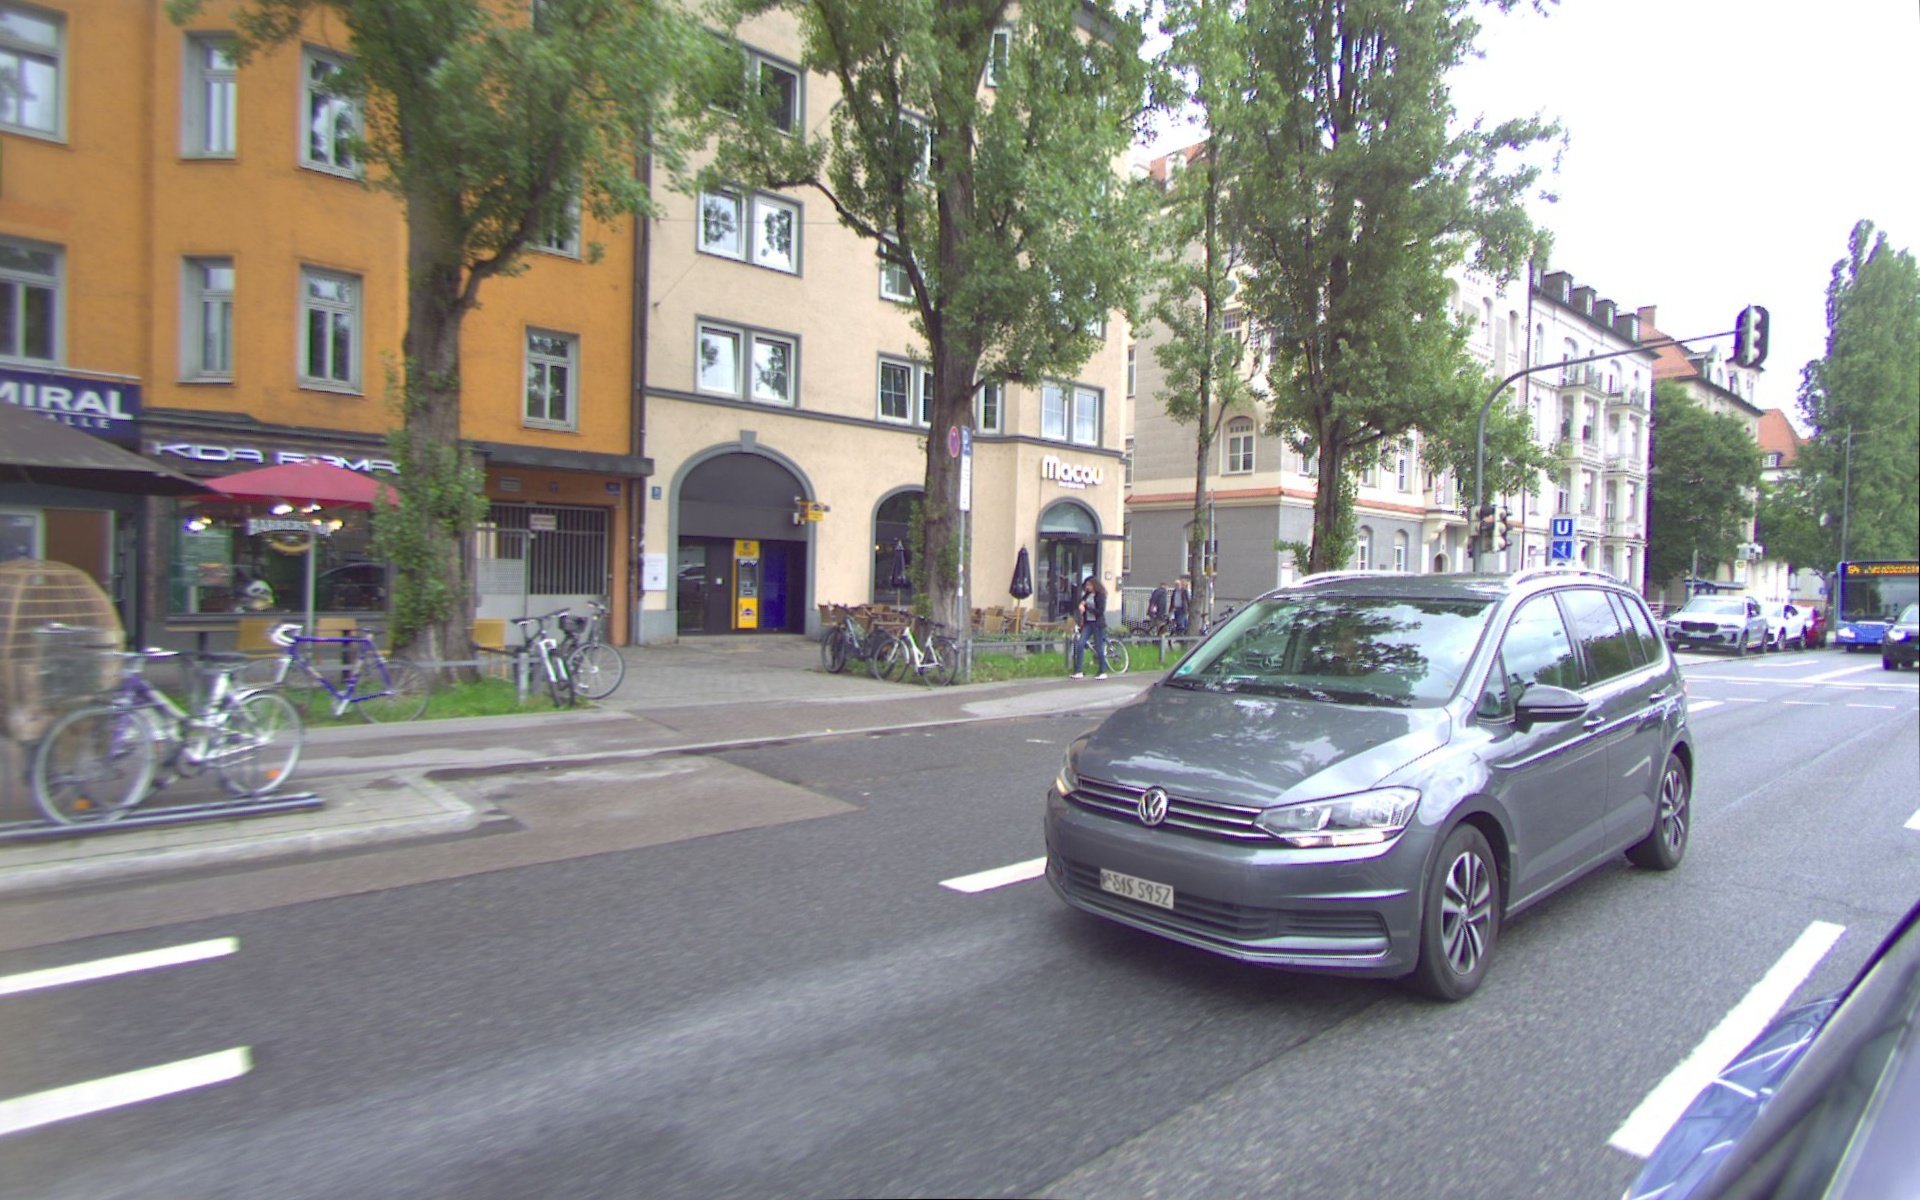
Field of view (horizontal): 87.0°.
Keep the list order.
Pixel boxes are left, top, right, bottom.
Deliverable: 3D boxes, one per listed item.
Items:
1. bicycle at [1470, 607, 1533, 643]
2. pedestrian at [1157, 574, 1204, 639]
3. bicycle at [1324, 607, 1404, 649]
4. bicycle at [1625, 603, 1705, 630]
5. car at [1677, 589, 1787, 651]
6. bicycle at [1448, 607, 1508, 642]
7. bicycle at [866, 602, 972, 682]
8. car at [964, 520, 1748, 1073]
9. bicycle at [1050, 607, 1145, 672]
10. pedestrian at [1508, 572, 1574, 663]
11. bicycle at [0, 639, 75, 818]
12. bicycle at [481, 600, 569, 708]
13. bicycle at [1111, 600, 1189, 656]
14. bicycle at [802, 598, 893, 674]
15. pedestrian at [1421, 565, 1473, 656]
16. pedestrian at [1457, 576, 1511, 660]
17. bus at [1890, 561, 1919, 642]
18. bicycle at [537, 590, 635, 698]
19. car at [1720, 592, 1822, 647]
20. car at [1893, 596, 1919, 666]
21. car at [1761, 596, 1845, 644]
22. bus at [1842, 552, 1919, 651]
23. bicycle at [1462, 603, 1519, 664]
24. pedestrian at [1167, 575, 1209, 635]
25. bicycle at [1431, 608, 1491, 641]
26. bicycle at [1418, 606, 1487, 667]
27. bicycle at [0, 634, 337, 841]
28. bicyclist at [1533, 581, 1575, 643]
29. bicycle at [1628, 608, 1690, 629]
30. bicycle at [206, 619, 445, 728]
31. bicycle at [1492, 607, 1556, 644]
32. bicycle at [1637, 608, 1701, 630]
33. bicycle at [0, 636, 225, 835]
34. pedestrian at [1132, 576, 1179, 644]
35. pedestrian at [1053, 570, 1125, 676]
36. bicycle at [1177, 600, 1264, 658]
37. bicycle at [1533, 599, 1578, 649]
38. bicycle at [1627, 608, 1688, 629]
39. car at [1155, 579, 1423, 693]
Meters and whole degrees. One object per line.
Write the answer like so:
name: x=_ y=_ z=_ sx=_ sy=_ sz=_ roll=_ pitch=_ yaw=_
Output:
bicycle: x=16.158 y=0.745 z=30.192 sx=1.801 sy=1.036 sz=0.447 roll=0 pitch=1 yaw=-13
pedestrian: x=6.012 y=0.165 z=27.596 sx=0.999 sy=1.706 sz=0.747 roll=0 pitch=1 yaw=-40
bicycle: x=9.640 y=0.647 z=24.190 sx=0.385 sy=0.928 sz=1.838 roll=0 pitch=1 yaw=-38
bicycle: x=31.748 y=0.721 z=45.622 sx=2.899 sy=1.162 sz=0.633 roll=1 pitch=0 yaw=33
car: x=22.533 y=0.528 z=29.481 sx=4.424 sy=1.682 sz=1.735 roll=0 pitch=0 yaw=-41
bicycle: x=15.721 y=0.746 z=30.705 sx=1.801 sy=1.036 sz=0.393 roll=0 pitch=1 yaw=-13
bicycle: x=-0.642 y=0.595 z=15.122 sx=0.450 sy=1.067 sz=1.890 roll=0 pitch=2 yaw=-42
car: x=2.352 y=0.581 z=5.225 sx=4.624 sy=1.667 sz=1.775 roll=0 pitch=0 yaw=-40
bicycle: x=2.266 y=0.618 z=16.545 sx=1.624 sy=0.977 sz=0.590 roll=0 pitch=1 yaw=-40
pedestrian: x=11.893 y=0.346 z=20.728 sx=0.741 sy=1.824 sz=0.883 roll=2 pitch=0 yaw=-30
bicycle: x=-5.809 y=0.747 z=5.359 sx=0.369 sy=1.008 sz=1.836 roll=2 pitch=0 yaw=10
bicycle: x=-4.995 y=0.571 z=11.554 sx=0.450 sy=1.067 sz=1.892 roll=0 pitch=2 yaw=-38
bicycle: x=4.059 y=0.577 z=21.784 sx=0.439 sy=1.123 sz=1.802 roll=1 pitch=1 yaw=-38
bicycle: x=-1.865 y=0.553 z=16.539 sx=0.450 sy=1.127 sz=1.890 roll=0 pitch=2 yaw=-42
pedestrian: x=9.904 y=0.215 z=20.584 sx=0.638 sy=1.803 sz=0.702 roll=1 pitch=0 yaw=-7
pedestrian: x=10.694 y=0.358 z=20.672 sx=0.743 sy=1.658 sz=0.700 roll=1 pitch=0 yaw=7
bus: x=39.211 y=0.078 z=39.991 sx=8.383 sy=3.012 sz=2.635 roll=0 pitch=0 yaw=-40
bicycle: x=-4.649 y=0.494 z=12.508 sx=0.571 sy=1.188 sz=1.892 roll=0 pitch=1 yaw=-38
car: x=26.037 y=0.598 z=32.447 sx=3.895 sy=1.596 sz=1.730 roll=0 pitch=2 yaw=-39
car: x=22.526 y=0.647 z=22.778 sx=3.901 sy=1.523 sz=1.778 roll=0 pitch=-2 yaw=-41
car: x=29.702 y=0.663 z=35.626 sx=3.678 sy=1.527 sz=1.729 roll=0 pitch=2 yaw=-42
bus: x=32.485 y=0.074 z=34.252 sx=9.298 sy=3.012 sz=2.635 roll=0 pitch=0 yaw=-40
bicycle: x=10.731 y=0.647 z=20.522 sx=0.353 sy=1.116 sz=1.743 roll=2 pitch=1 yaw=5
pedestrian: x=6.760 y=0.127 z=29.985 sx=0.999 sy=1.735 sz=0.747 roll=0 pitch=1 yaw=-40
bicycle: x=15.448 y=0.748 z=31.187 sx=1.801 sy=0.990 sz=0.393 roll=0 pitch=1 yaw=-13
bicycle: x=9.910 y=0.708 z=20.420 sx=0.352 sy=1.116 sz=1.747 roll=1 pitch=2 yaw=-6
bicycle: x=-4.718 y=0.748 z=6.206 sx=0.369 sy=1.008 sz=1.836 roll=2 pitch=0 yaw=10
bicyclist: x=15.910 y=0.311 z=27.107 sx=0.922 sy=1.623 sz=0.681 roll=0 pitch=1 yaw=-40
bicycle: x=31.949 y=0.837 z=46.278 sx=2.307 sy=0.933 sz=0.580 roll=1 pitch=0 yaw=33
bicycle: x=-5.948 y=0.650 z=9.572 sx=1.861 sy=0.903 sz=0.457 roll=0 pitch=1 yaw=-42
bicycle: x=16.562 y=0.744 z=29.705 sx=1.801 sy=1.036 sz=0.447 roll=0 pitch=1 yaw=-13
bicycle: x=31.491 y=0.835 z=44.986 sx=2.307 sy=0.933 sz=0.580 roll=1 pitch=0 yaw=33
bicycle: x=-5.226 y=0.747 z=5.832 sx=0.369 sy=1.008 sz=1.836 roll=2 pitch=0 yaw=10
pedestrian: x=4.791 y=0.237 z=24.880 sx=0.805 sy=1.622 sz=0.851 roll=1 pitch=1 yaw=-15
pedestrian: x=1.995 y=0.344 z=15.689 sx=0.749 sy=1.582 sz=0.762 roll=1 pitch=0 yaw=-39
bicycle: x=5.226 y=0.574 z=20.386 sx=0.439 sy=1.124 sz=1.801 roll=1 pitch=-1 yaw=-38
bicycle: x=16.008 y=0.628 z=27.187 sx=1.746 sy=1.304 sz=0.424 roll=0 pitch=1 yaw=-40
bicycle: x=32.346 y=0.838 z=46.941 sx=2.312 sy=0.933 sz=0.579 roll=1 pitch=0 yaw=38
car: x=5.188 y=0.456 z=15.655 sx=4.452 sy=1.458 sz=1.997 roll=0 pitch=2 yaw=-43
